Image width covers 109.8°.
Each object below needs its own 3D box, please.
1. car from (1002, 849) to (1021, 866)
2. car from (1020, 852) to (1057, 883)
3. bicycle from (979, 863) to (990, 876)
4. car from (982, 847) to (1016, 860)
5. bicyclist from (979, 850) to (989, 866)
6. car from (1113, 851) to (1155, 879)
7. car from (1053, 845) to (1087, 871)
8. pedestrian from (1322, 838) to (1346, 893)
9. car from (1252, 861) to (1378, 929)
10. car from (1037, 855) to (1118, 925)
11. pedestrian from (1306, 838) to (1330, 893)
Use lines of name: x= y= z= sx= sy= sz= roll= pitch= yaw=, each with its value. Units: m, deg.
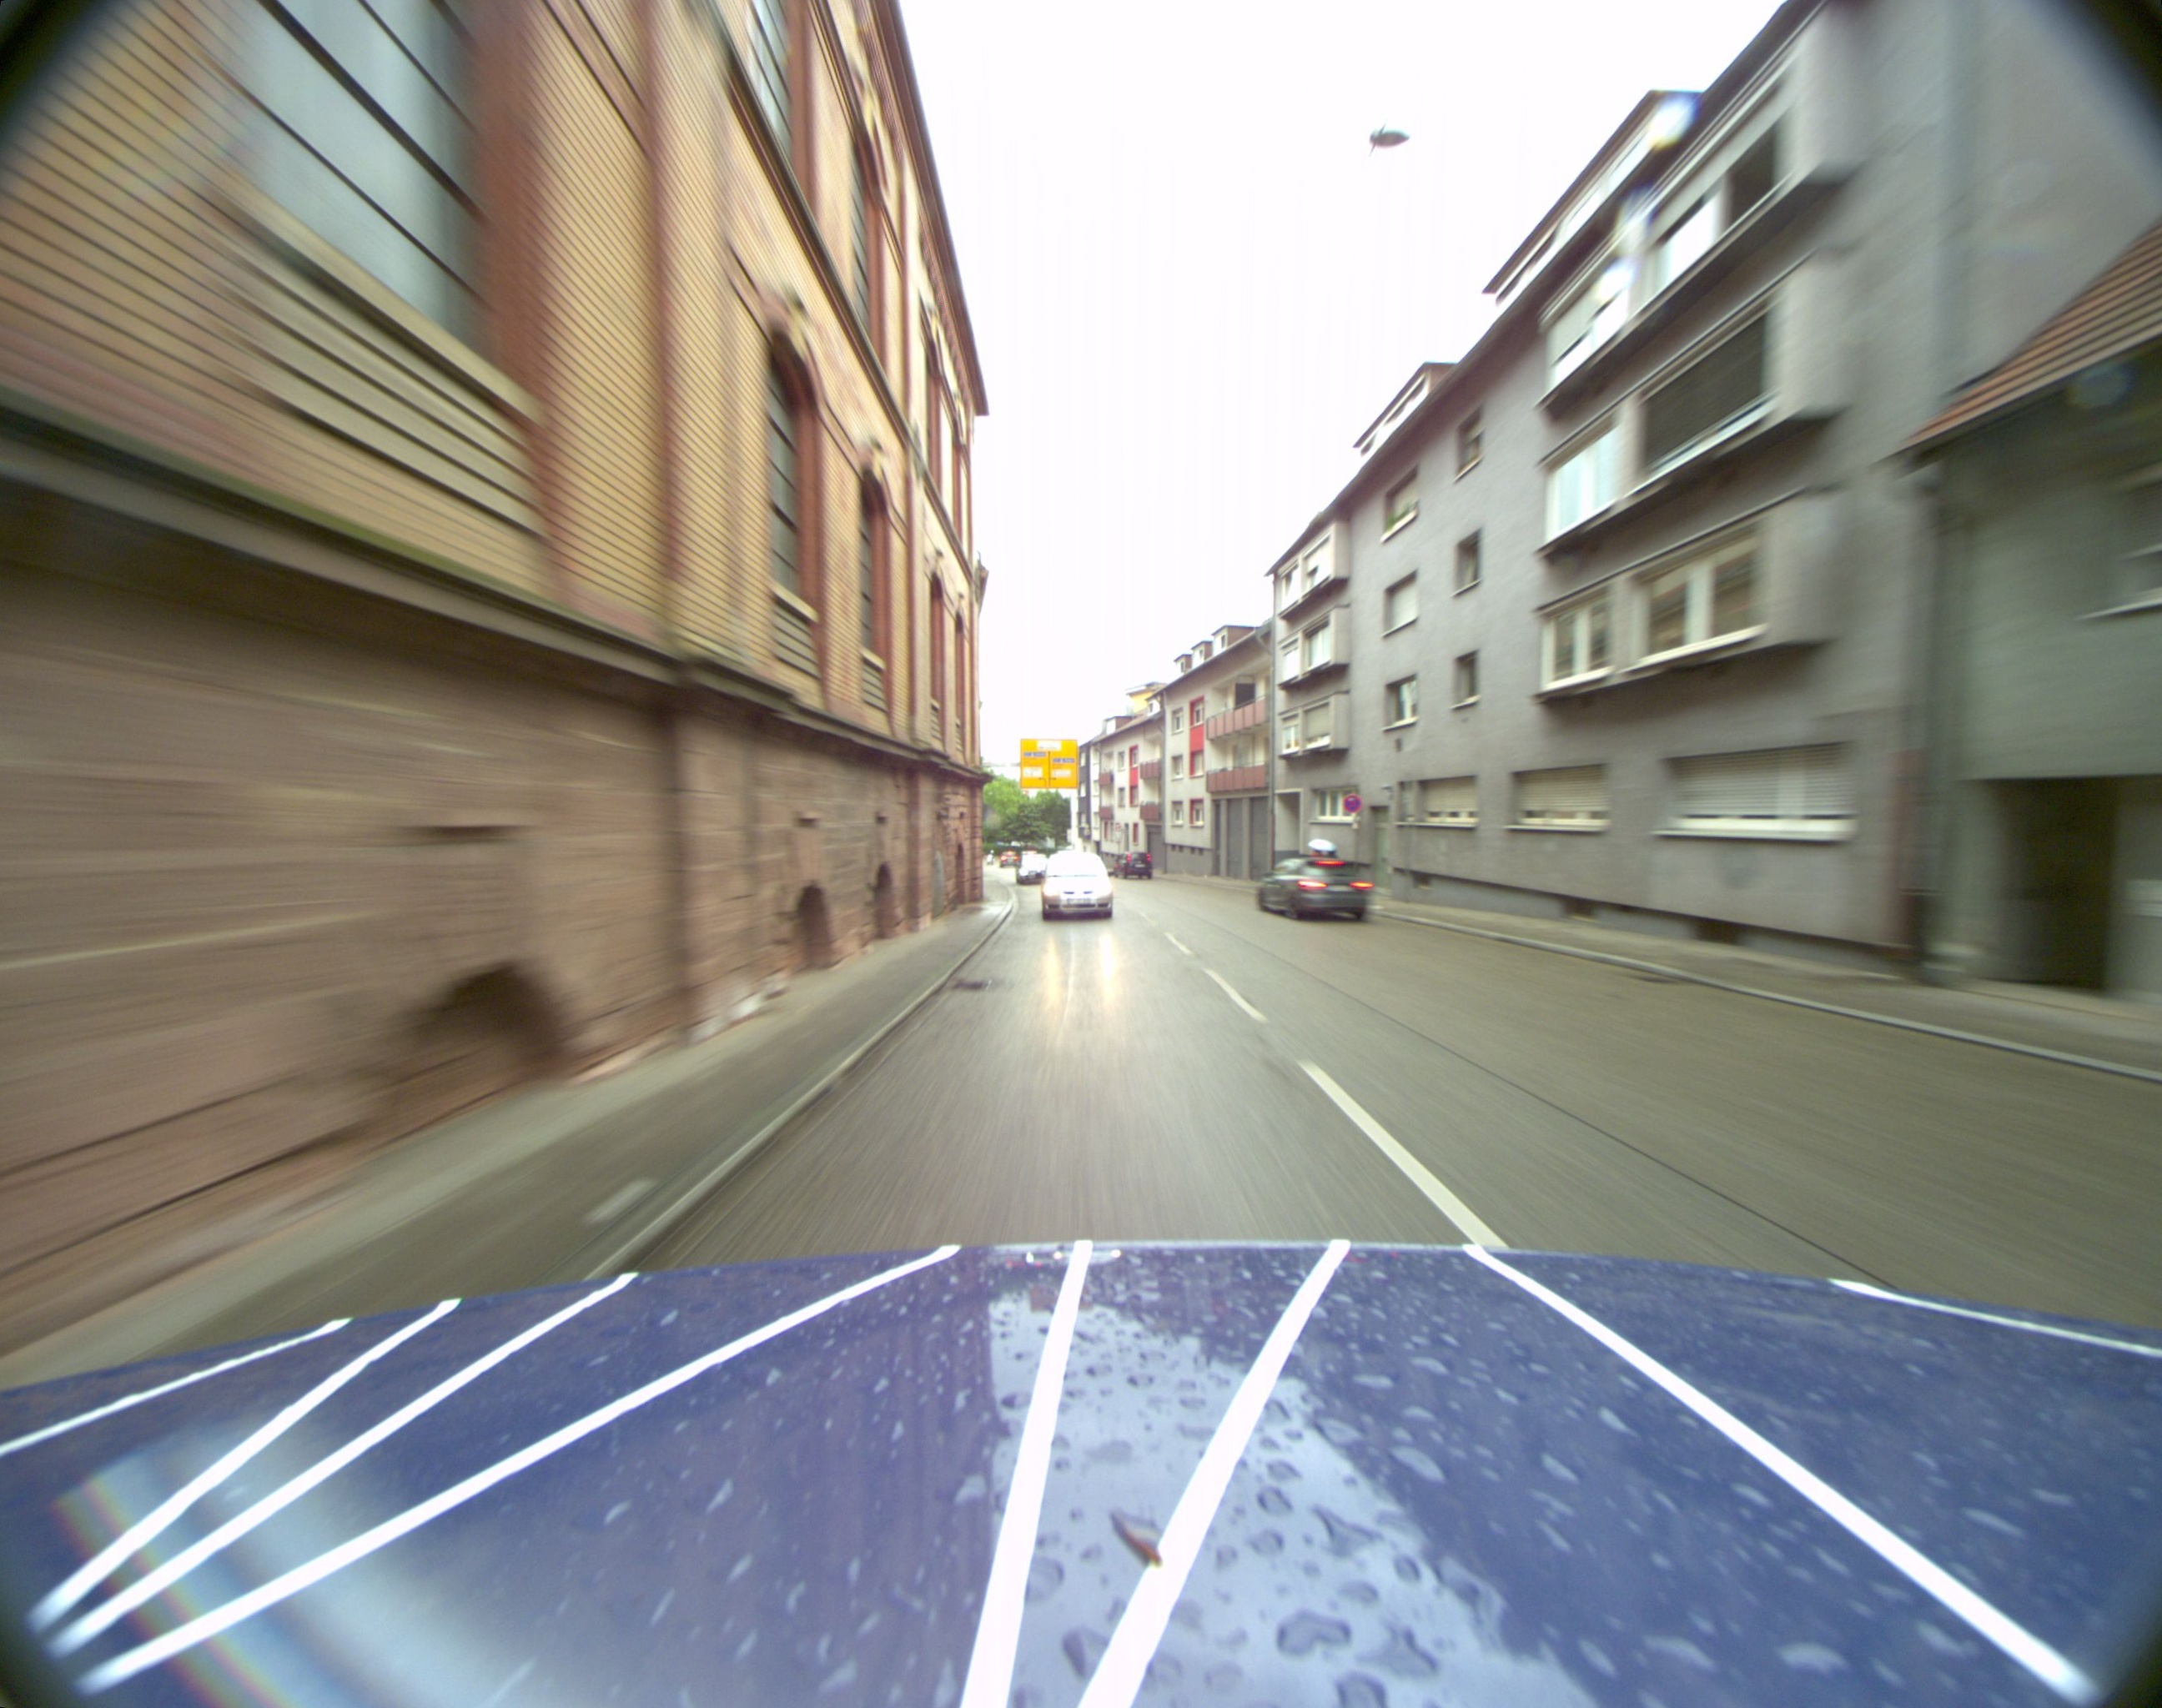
car: x=-7.373 y=0.349 z=80.452 sx=1.770 sy=1.648 sz=3.983 roll=0 pitch=1 yaw=-9
car: x=-2.145 y=0.674 z=38.773 sx=1.687 sy=1.418 sz=3.838 roll=-3 pitch=0 yaw=-3
bicycle: x=-9.442 y=1.521 z=74.209 sx=0.889 sy=1.181 sz=2.130 roll=-2 pitch=2 yaw=-12
car: x=-10.066 y=-0.042 z=93.218 sx=1.795 sy=1.501 sz=4.008 roll=-1 pitch=0 yaw=39
bicyclist: x=-9.461 y=0.413 z=74.178 sx=0.889 sy=1.481 sz=0.967 roll=-2 pitch=2 yaw=-12
car: x=2.958 y=0.598 z=42.837 sx=1.650 sy=1.488 sz=3.373 roll=2 pitch=0 yaw=-8
car: x=-0.735 y=0.199 z=48.505 sx=1.770 sy=1.567 sz=4.033 roll=0 pitch=1 yaw=-7
pedestrian: x=8.200 y=0.362 z=24.610 sx=0.524 sy=1.765 sz=0.622 roll=0 pitch=0 yaw=-5
car: x=5.381 y=0.882 z=17.975 sx=1.649 sy=1.370 sz=3.850 roll=2 pitch=0 yaw=-2
car: x=-0.184 y=0.809 z=19.091 sx=1.687 sy=1.496 sz=3.836 roll=-2 pitch=1 yaw=-5
pedestrian: x=7.660 y=0.366 z=24.563 sx=0.524 sy=1.765 sz=0.622 roll=0 pitch=0 yaw=-5
